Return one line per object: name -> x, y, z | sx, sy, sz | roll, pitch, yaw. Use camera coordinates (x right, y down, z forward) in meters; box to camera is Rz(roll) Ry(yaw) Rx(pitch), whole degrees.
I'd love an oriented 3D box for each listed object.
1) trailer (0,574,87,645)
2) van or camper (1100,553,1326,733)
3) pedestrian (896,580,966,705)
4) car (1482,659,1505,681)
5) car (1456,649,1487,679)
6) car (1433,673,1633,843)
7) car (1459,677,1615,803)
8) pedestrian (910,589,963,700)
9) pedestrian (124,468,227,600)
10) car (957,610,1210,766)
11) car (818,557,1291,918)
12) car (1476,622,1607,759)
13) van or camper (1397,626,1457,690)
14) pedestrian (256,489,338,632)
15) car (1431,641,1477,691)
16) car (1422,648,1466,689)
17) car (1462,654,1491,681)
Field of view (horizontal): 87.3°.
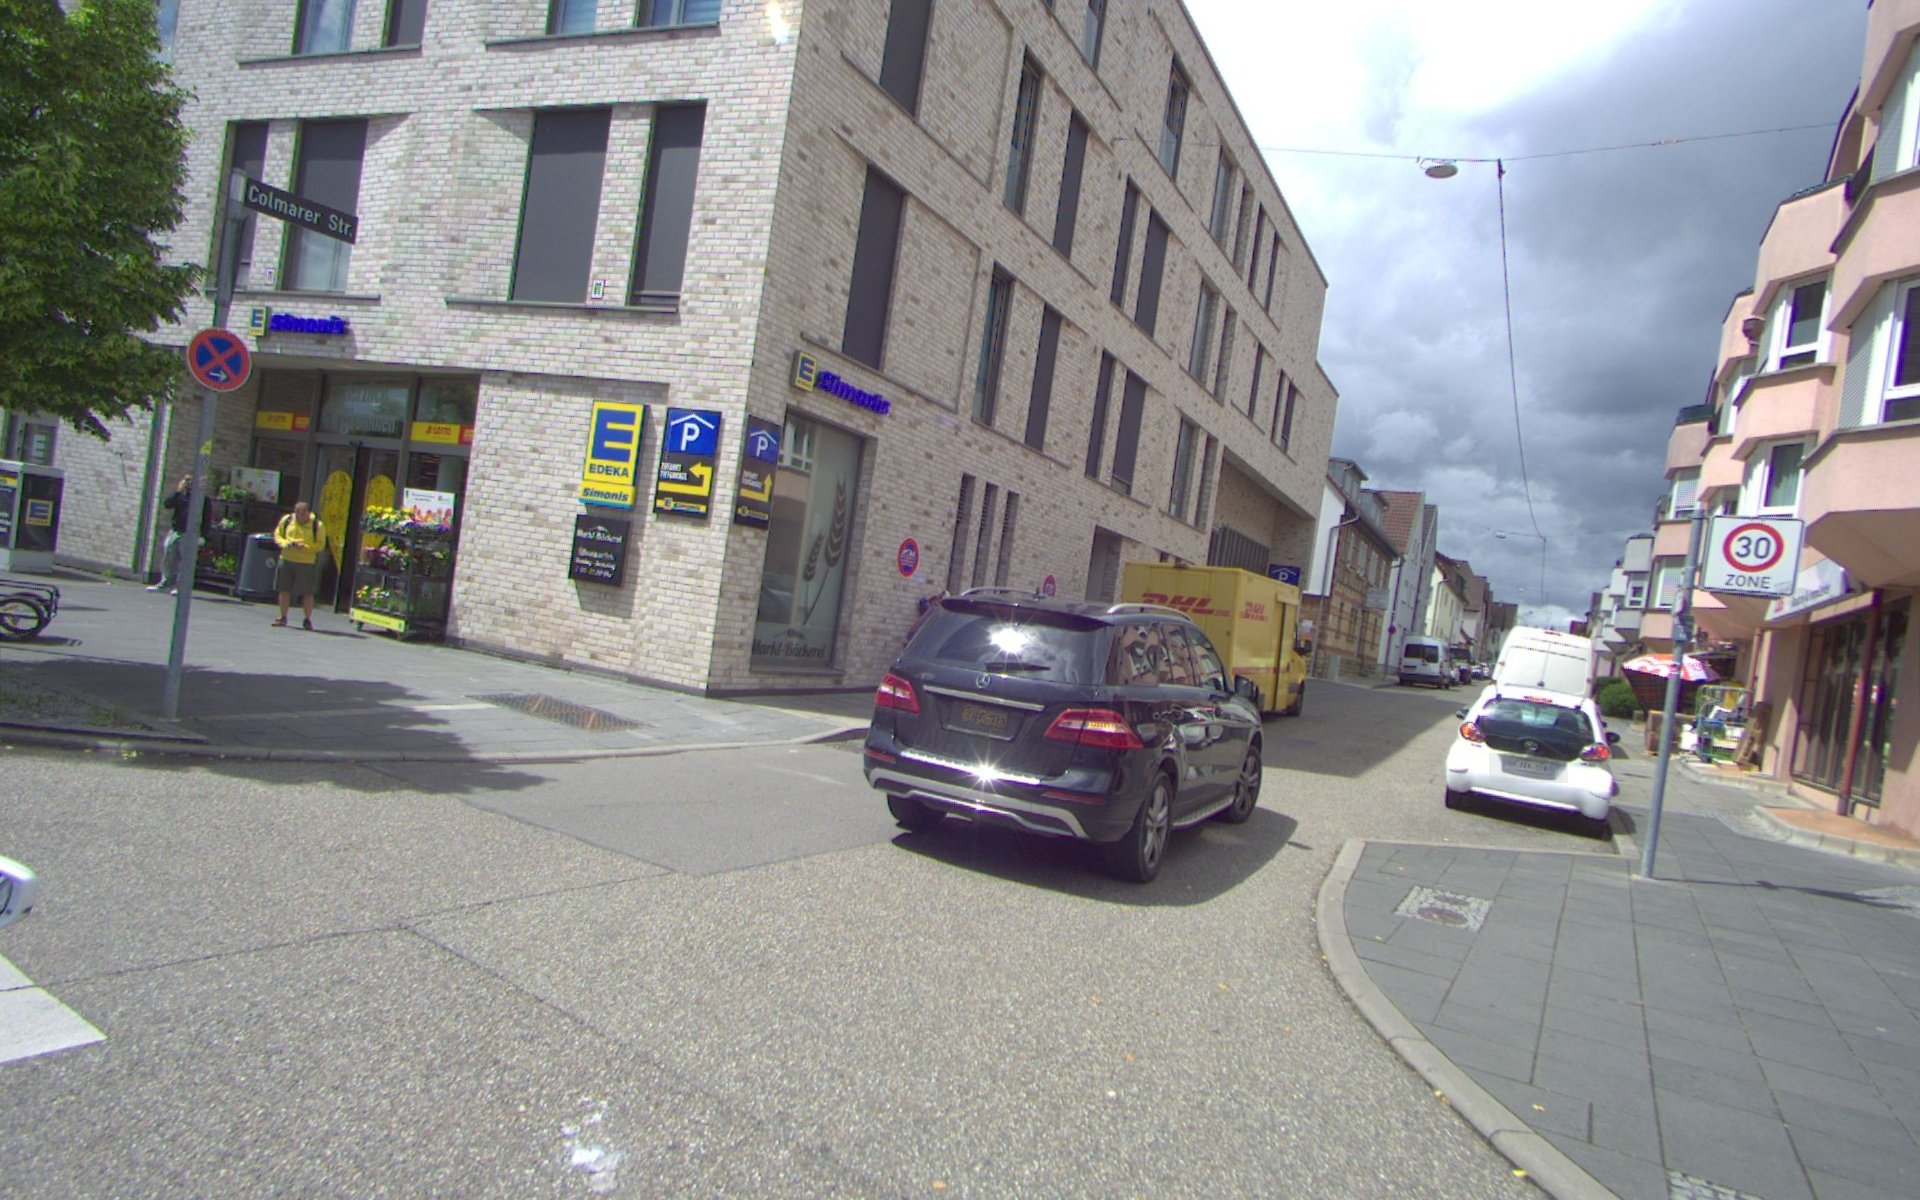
trailer -> -8.521, 0.068, 9.074 | 0.798, 0.535, 0.721 | 8, -1, 31
van or camper -> 5.239, 0.838, 19.779 | 2.238, 2.771, 6.862 | 6, 0, 30
pedestrian -> -0.422, 0.620, 14.717 | 0.801, 1.690, 0.556 | 7, -1, 0
car -> 58.542, 7.664, 110.375 | 1.841, 1.969, 3.852 | 6, -3, 31
car -> 41.652, 5.223, 81.854 | 1.841, 1.969, 3.852 | 6, -3, 31
car -> 6.975, 1.762, 12.212 | 1.690, 1.495, 3.384 | 8, 1, 32
car -> 9.373, 2.128, 16.290 | 1.802, 1.495, 4.013 | 8, 1, 32
pedestrian -> -0.350, 0.681, 15.354 | 0.592, 1.591, 0.523 | 7, -1, 0
pedestrian -> -11.279, -0.926, 14.497 | 0.649, 1.763, 1.015 | 8, 1, -14
car -> 1.761, 1.076, 13.055 | 1.753, 1.495, 3.900 | 8, 1, 29
car -> 1.100, 0.853, 7.900 | 1.965, 1.768, 4.526 | 8, 1, 27
car -> 13.805, 2.070, 23.791 | 2.092, 2.586, 5.891 | 8, 1, 32
van or camper -> 23.816, 2.981, 51.161 | 2.019, 2.738, 5.159 | 6, -2, 31
pedestrian -> -8.445, -0.500, 12.833 | 0.652, 1.713, 0.627 | 7, 1, -29
car -> 31.712, 4.246, 64.555 | 2.019, 2.738, 4.713 | 6, -2, 31
car -> 28.517, 4.053, 59.212 | 1.841, 1.969, 3.852 | 6, -3, 31
car -> 45.773, 6.002, 89.122 | 1.841, 1.969, 3.852 | 6, -3, 31
